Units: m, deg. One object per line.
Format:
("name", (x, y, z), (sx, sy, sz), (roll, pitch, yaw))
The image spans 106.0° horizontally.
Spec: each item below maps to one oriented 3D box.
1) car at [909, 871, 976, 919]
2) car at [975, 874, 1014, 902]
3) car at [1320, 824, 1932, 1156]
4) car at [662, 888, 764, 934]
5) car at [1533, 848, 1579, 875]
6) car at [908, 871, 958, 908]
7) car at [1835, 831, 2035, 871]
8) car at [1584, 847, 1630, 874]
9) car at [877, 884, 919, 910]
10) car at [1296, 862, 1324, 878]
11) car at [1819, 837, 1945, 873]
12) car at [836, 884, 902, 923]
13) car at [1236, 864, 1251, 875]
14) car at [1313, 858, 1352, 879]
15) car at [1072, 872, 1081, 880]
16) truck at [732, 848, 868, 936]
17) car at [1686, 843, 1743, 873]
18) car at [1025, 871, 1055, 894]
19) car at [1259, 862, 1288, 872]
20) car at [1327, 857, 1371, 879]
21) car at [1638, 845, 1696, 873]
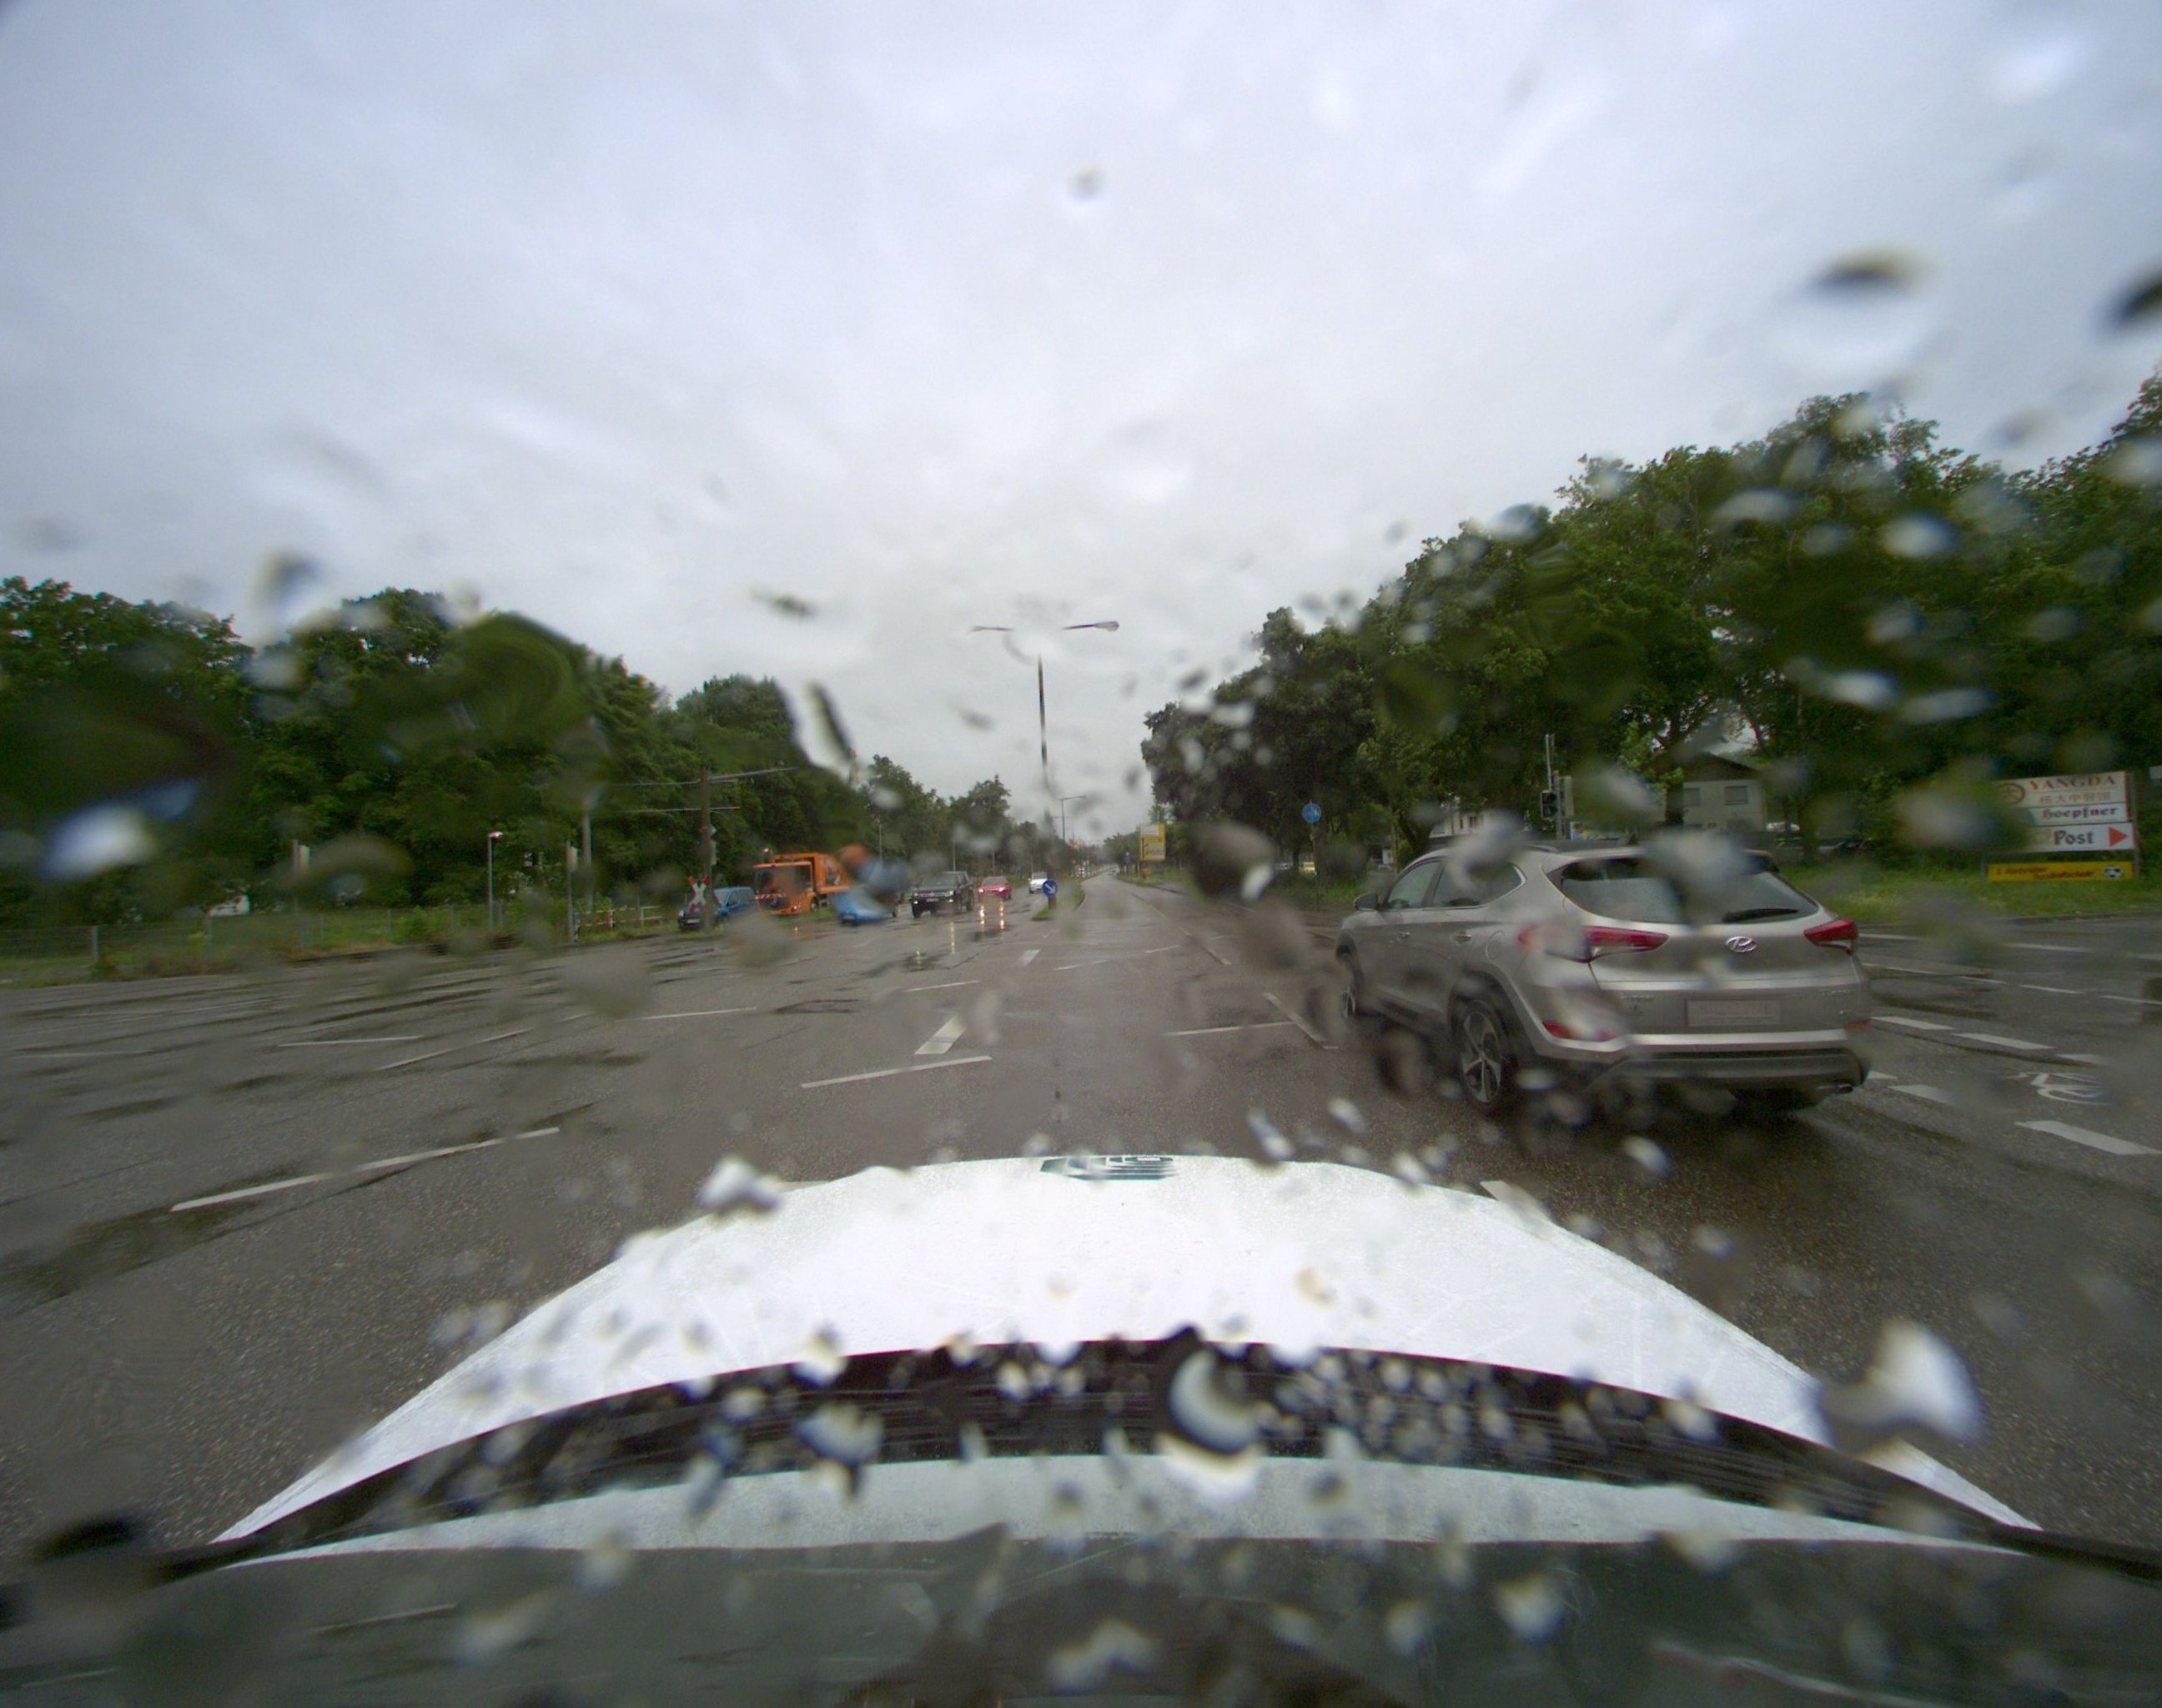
("car", (-5.870, 1.700, 35.178), (1.799, 1.773, 5.090), (-4, -1, 2))
("car", (-5.351, 2.124, 50.775), (1.795, 1.569, 4.429), (-4, -2, 1))
("car", (3.267, 0.696, 6.079), (1.877, 1.610, 4.197), (0, -1, 2))
("car", (-15.100, 2.290, 33.741), (1.985, 1.709, 4.529), (-1, -2, 3))
("car", (27.494, 0.452, 47.107), (1.648, 1.449, 3.775), (-2, -3, 40))
("car", (-8.835, 2.083, 49.067), (1.921, 2.018, 4.745), (-2, -1, 2))
("car", (33.451, -0.088, 32.035), (5.375, 1.449, 2.170), (-1, -2, 4))
("car", (29.484, 0.385, 45.592), (1.648, 1.449, 3.775), (-2, -3, 40))
("car", (-13.356, 3.111, 59.820), (1.987, 1.828, 4.770), (-1, -2, 0))
("car", (22.962, 1.624, 81.636), (1.632, 1.486, 4.071), (0, -2, 0))
("car", (34.427, 0.056, 35.077), (3.694, 1.449, 1.671), (-1, -2, 3))
("car", (-8.807, 2.024, 34.213), (1.636, 1.427, 3.999), (-4, -2, 0))
("car", (24.882, 2.339, 124.594), (1.737, 1.445, 4.126), (-3, 0, 4))
("car", (22.774, 1.366, 73.836), (1.987, 1.717, 4.640), (-3, -2, 0))
("car", (-1.067, 4.926, 185.308), (1.738, 1.650, 4.136), (-5, -1, 1))
("truck", (-14.707, 1.973, 43.886), (3.372, 4.168, 10.409), (-1, -2, 2))
("car", (32.662, 0.239, 41.937), (3.771, 1.449, 1.584), (1, -3, -41))
("car", (-3.217, 2.256, 64.917), (1.954, 1.617, 4.698), (-3, -1, 2))
("car", (32.895, 2.158, 139.243), (4.560, 1.645, 1.997), (0, -2, -4))
("car", (22.377, 1.206, 68.269), (1.987, 1.717, 4.877), (-3, -2, 0))
("car", (31.166, 0.296, 43.291), (3.771, 1.449, 1.650), (1, -3, -41))
